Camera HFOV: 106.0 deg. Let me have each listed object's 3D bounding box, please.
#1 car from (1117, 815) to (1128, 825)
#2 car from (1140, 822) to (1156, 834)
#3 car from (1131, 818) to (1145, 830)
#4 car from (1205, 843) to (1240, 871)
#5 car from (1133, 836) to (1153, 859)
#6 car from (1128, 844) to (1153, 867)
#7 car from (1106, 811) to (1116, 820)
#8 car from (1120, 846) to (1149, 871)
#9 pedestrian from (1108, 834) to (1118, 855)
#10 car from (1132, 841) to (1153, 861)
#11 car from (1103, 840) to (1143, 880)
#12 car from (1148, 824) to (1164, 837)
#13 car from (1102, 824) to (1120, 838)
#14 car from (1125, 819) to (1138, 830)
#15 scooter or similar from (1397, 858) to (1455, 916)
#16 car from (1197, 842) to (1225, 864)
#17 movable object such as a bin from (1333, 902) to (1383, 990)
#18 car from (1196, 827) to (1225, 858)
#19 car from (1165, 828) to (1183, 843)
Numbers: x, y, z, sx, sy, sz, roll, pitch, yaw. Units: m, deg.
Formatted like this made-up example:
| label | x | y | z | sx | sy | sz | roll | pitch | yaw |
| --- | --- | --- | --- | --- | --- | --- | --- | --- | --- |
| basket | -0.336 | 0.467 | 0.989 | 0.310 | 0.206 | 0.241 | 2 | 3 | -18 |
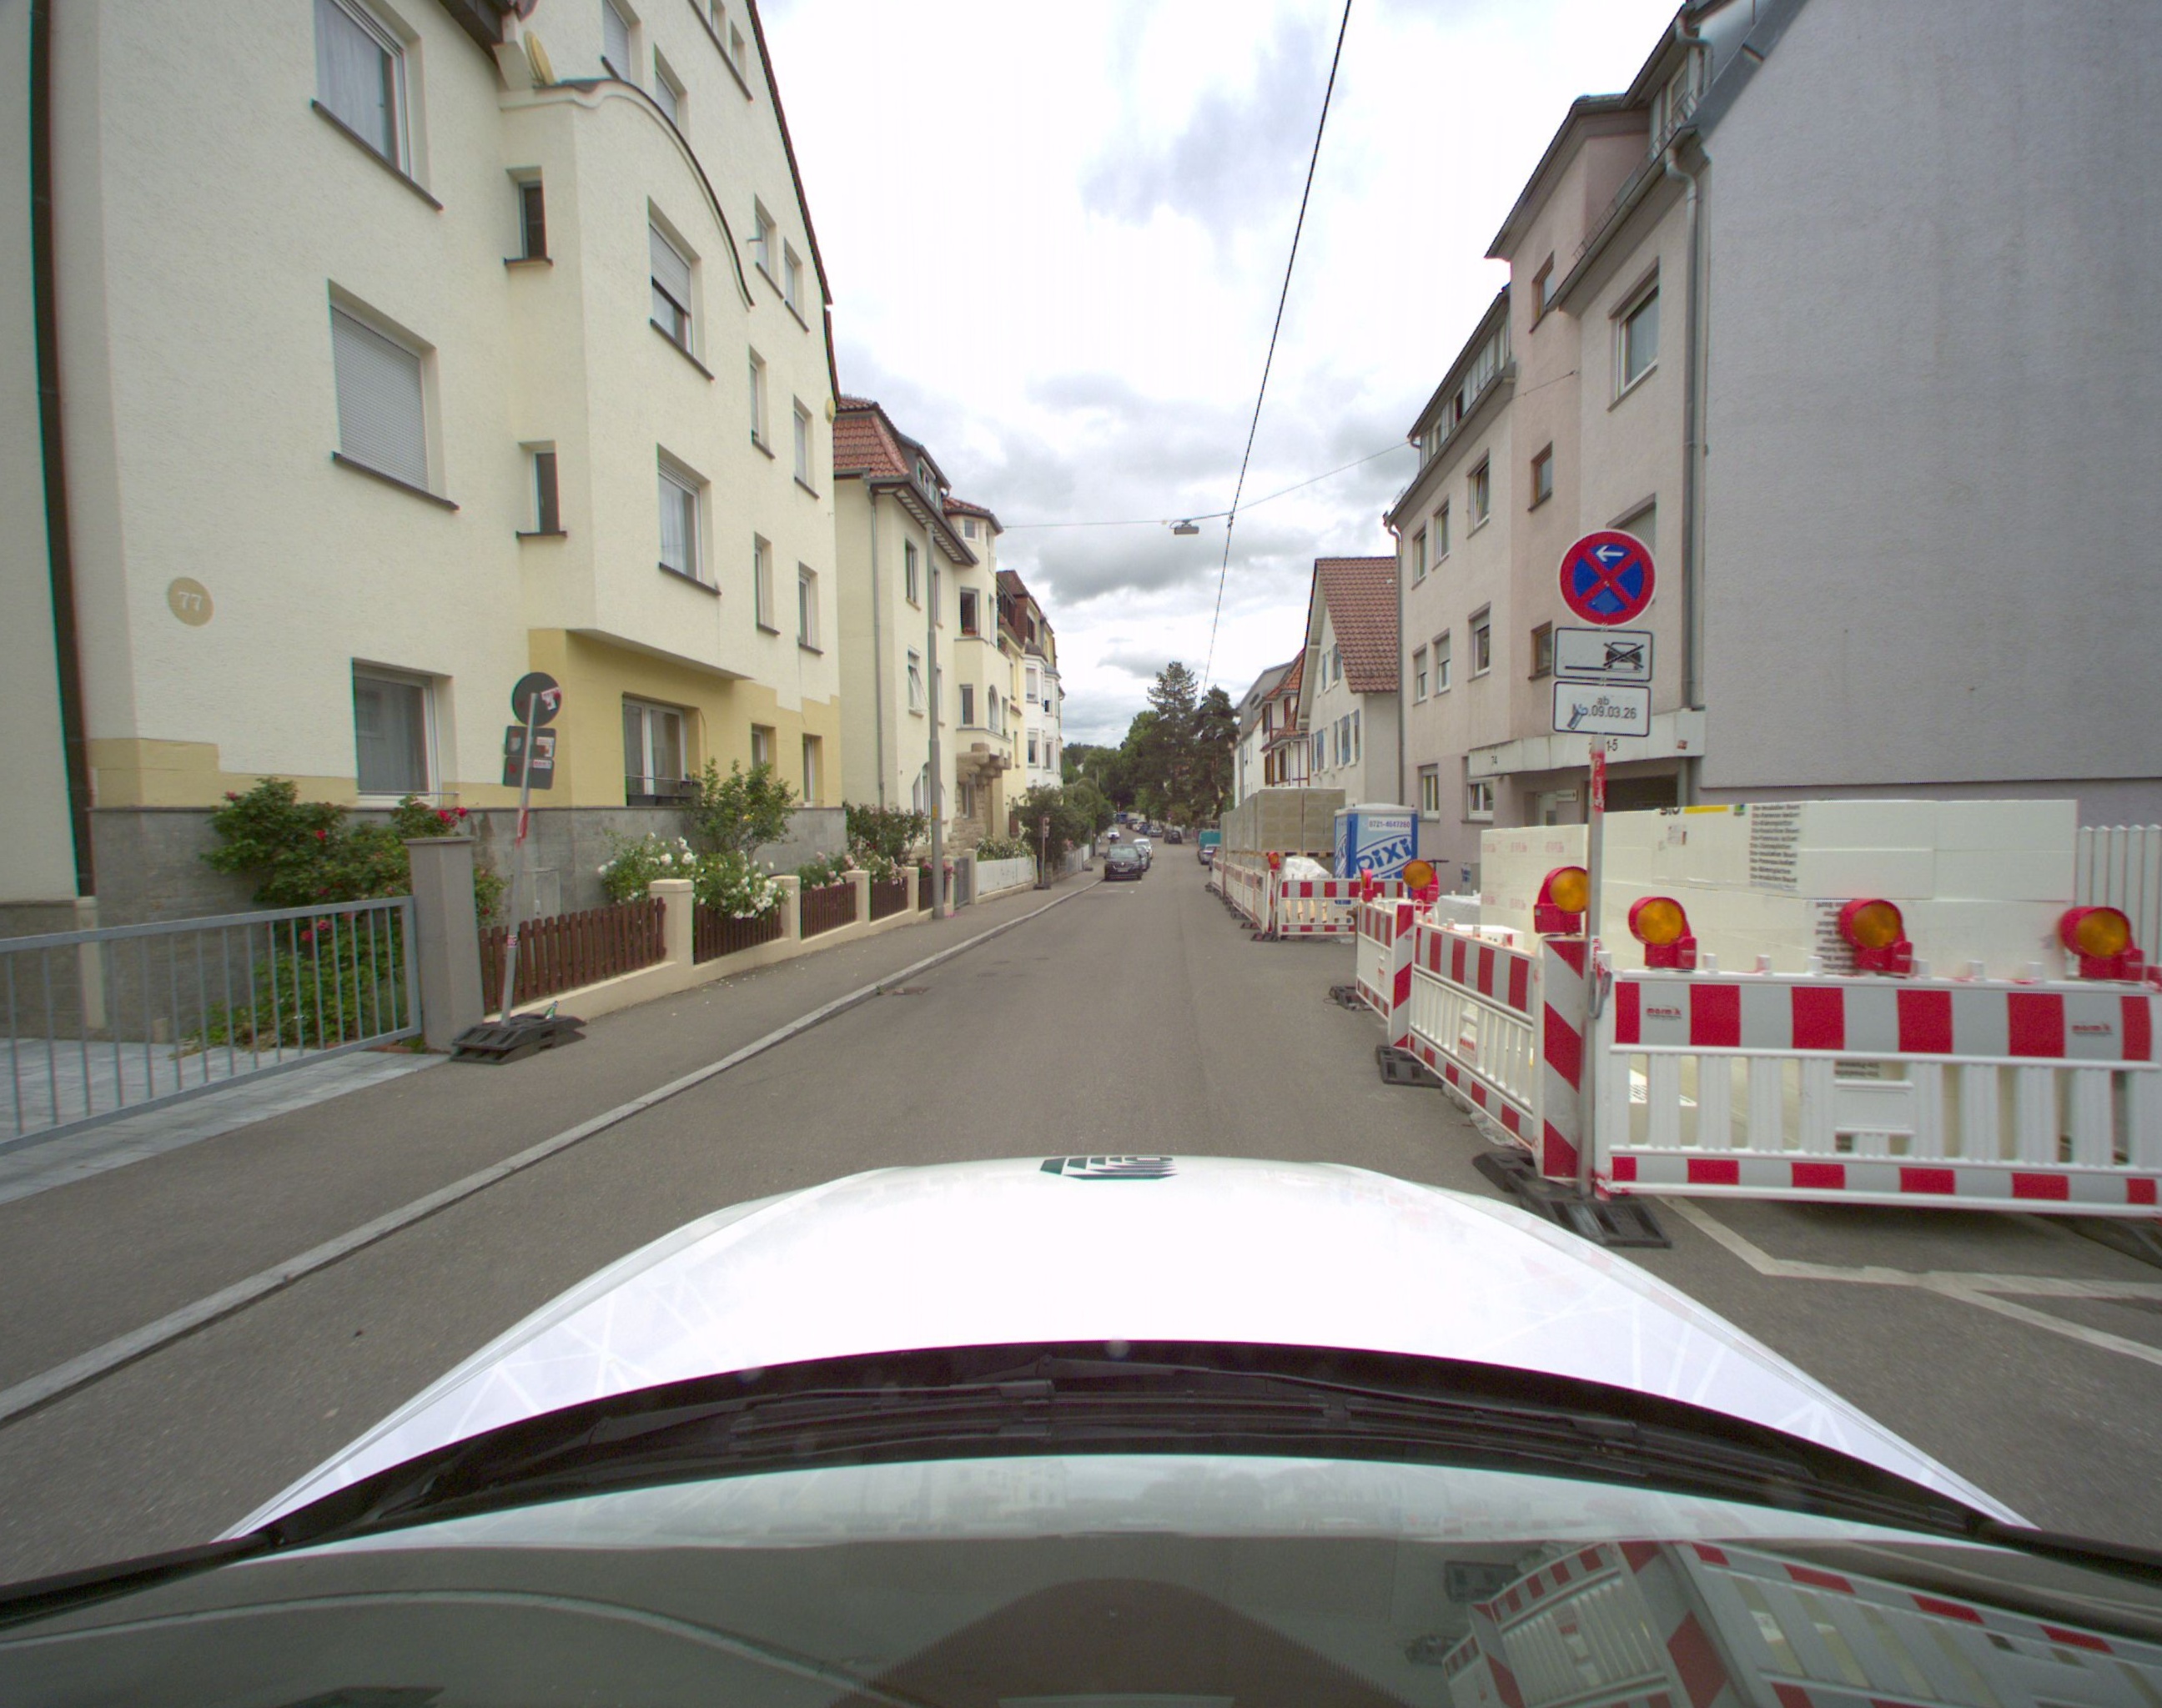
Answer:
| label | x | y | z | sx | sy | sz | roll | pitch | yaw |
| --- | --- | --- | --- | --- | --- | --- | --- | --- | --- |
| car | 7.069 | -5.740 | 138.897 | 1.630 | 1.537 | 3.528 | 0 | 5 | -3 |
| car | 9.223 | -3.563 | 112.226 | 1.630 | 1.483 | 3.528 | 0 | 5 | -3 |
| car | 8.253 | -4.361 | 118.335 | 1.630 | 1.537 | 3.528 | 0 | 5 | -3 |
| car | 8.203 | 0.147 | 47.516 | 1.681 | 1.519 | 3.886 | 0 | 1 | 5 |
| car | 5.302 | -0.550 | 69.391 | 1.664 | 1.656 | 3.870 | -2 | 4 | 5 |
| car | 4.146 | 0.088 | 56.095 | 1.588 | 1.478 | 3.997 | -2 | 1 | 5 |
| car | 5.453 | -7.034 | 149.262 | 1.630 | 1.537 | 3.528 | 0 | 5 | -3 |
| car | 3.362 | 0.244 | 50.839 | 1.634 | 1.416 | 3.990 | -2 | 1 | 5 |
| pedestrian | 2.845 | -0.868 | 73.431 | 0.786 | 1.932 | 0.922 | 0 | 1 | 8 |
| car | 4.957 | -0.255 | 65.300 | 1.588 | 1.412 | 3.669 | -2 | 2 | 5 |
| car | 2.099 | 0.275 | 40.671 | 1.837 | 1.815 | 4.548 | -2 | 1 | 3 |
| car | 9.867 | -3.144 | 107.475 | 1.630 | 1.483 | 3.528 | 0 | 5 | -3 |
| car | 3.902 | -2.959 | 105.509 | 1.671 | 1.656 | 3.855 | -3 | 4 | -7 |
| car | 7.645 | -4.543 | 124.273 | 1.630 | 1.537 | 3.528 | 0 | 5 | -3 |
| scooter or similar | 7.613 | 0.705 | 18.046 | 0.639 | 1.156 | 1.768 | -2 | 1 | 4 |
| car | 9.339 | -0.122 | 58.803 | 1.717 | 1.448 | 3.887 | -1 | 2 | 5 |
| movable object such as a bin | 3.028 | 0.988 | 8.907 | 0.396 | 0.892 | 0.366 | 1 | 1 | 43 |
| car | 10.346 | -0.974 | 65.125 | 1.971 | 2.362 | 4.284 | -1 | 2 | 5 |
| car | 10.838 | -2.185 | 95.453 | 1.630 | 1.483 | 3.529 | 0 | 5 | -2 |
